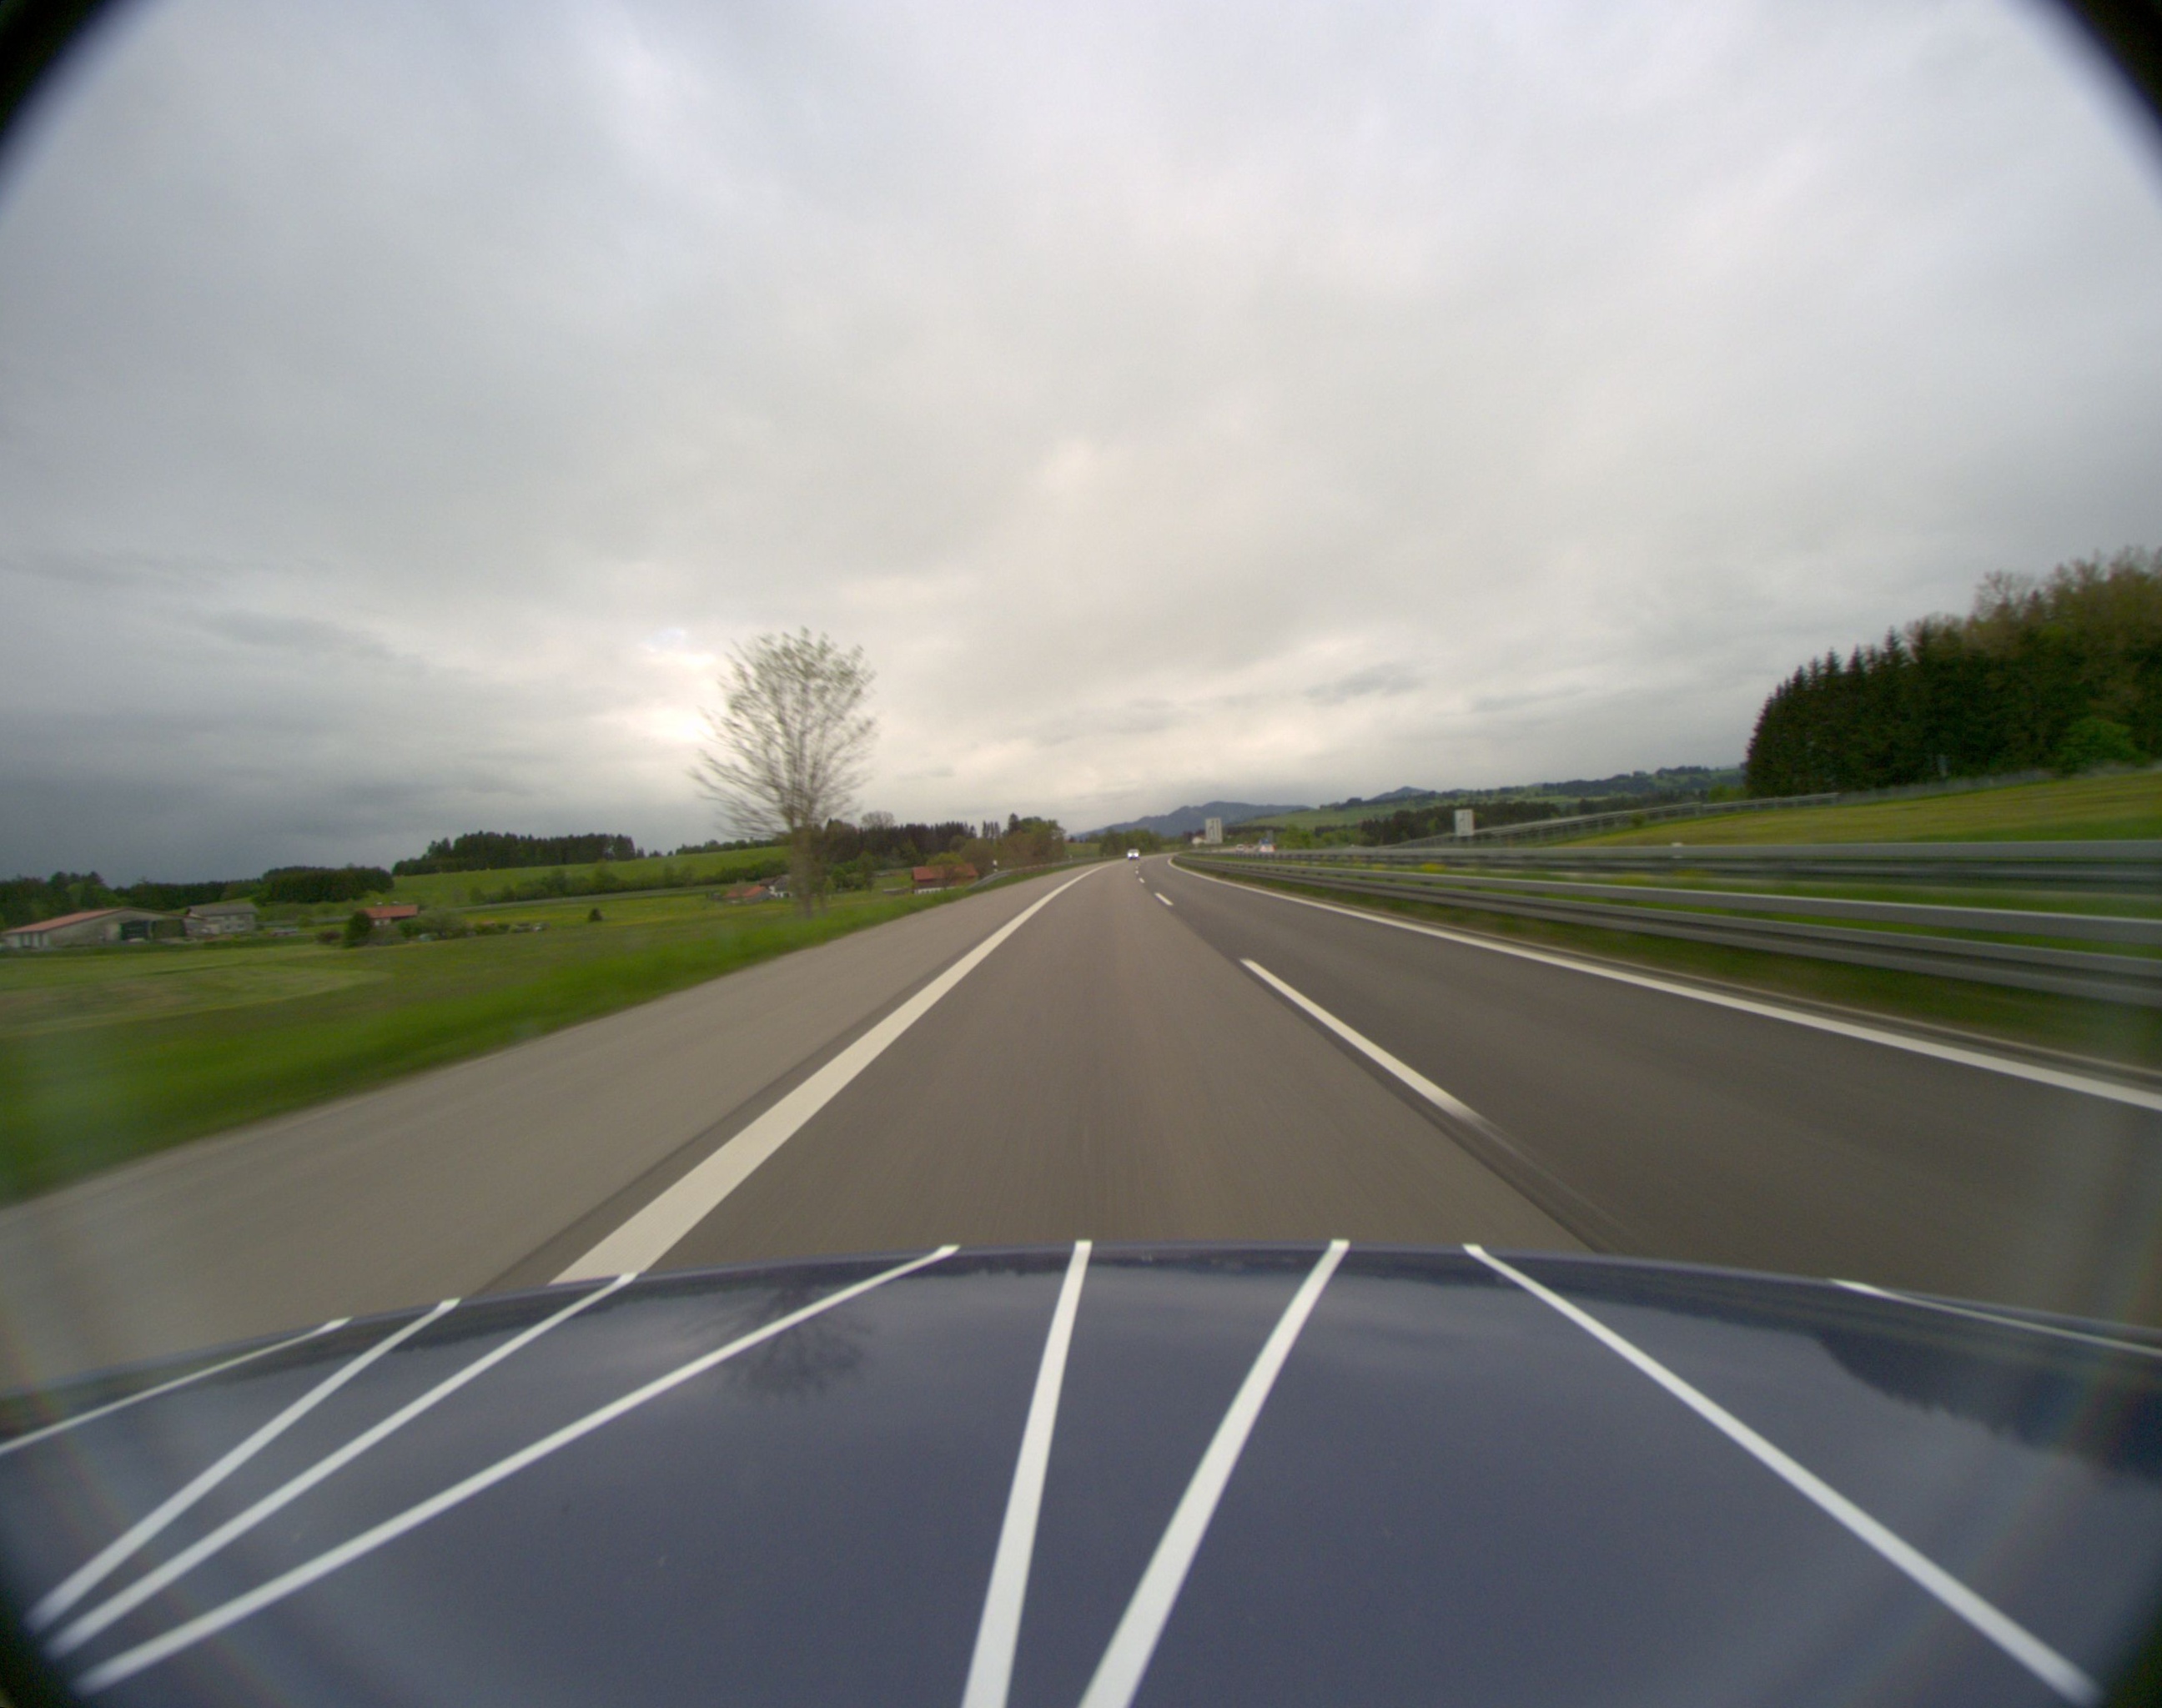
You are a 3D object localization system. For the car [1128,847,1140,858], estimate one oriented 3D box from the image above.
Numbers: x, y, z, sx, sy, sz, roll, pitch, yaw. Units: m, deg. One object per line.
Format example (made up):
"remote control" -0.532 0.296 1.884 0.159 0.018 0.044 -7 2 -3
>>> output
"car" 9.594 -0.344 137.268 2.020 1.899 4.222 -2 0 5

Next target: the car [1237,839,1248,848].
"car" 36.193 -2.377 170.621 1.997 1.676 4.629 -5 0 9

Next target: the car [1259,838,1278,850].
"car" 28.663 -1.549 116.282 2.039 1.680 5.057 -5 0 7
